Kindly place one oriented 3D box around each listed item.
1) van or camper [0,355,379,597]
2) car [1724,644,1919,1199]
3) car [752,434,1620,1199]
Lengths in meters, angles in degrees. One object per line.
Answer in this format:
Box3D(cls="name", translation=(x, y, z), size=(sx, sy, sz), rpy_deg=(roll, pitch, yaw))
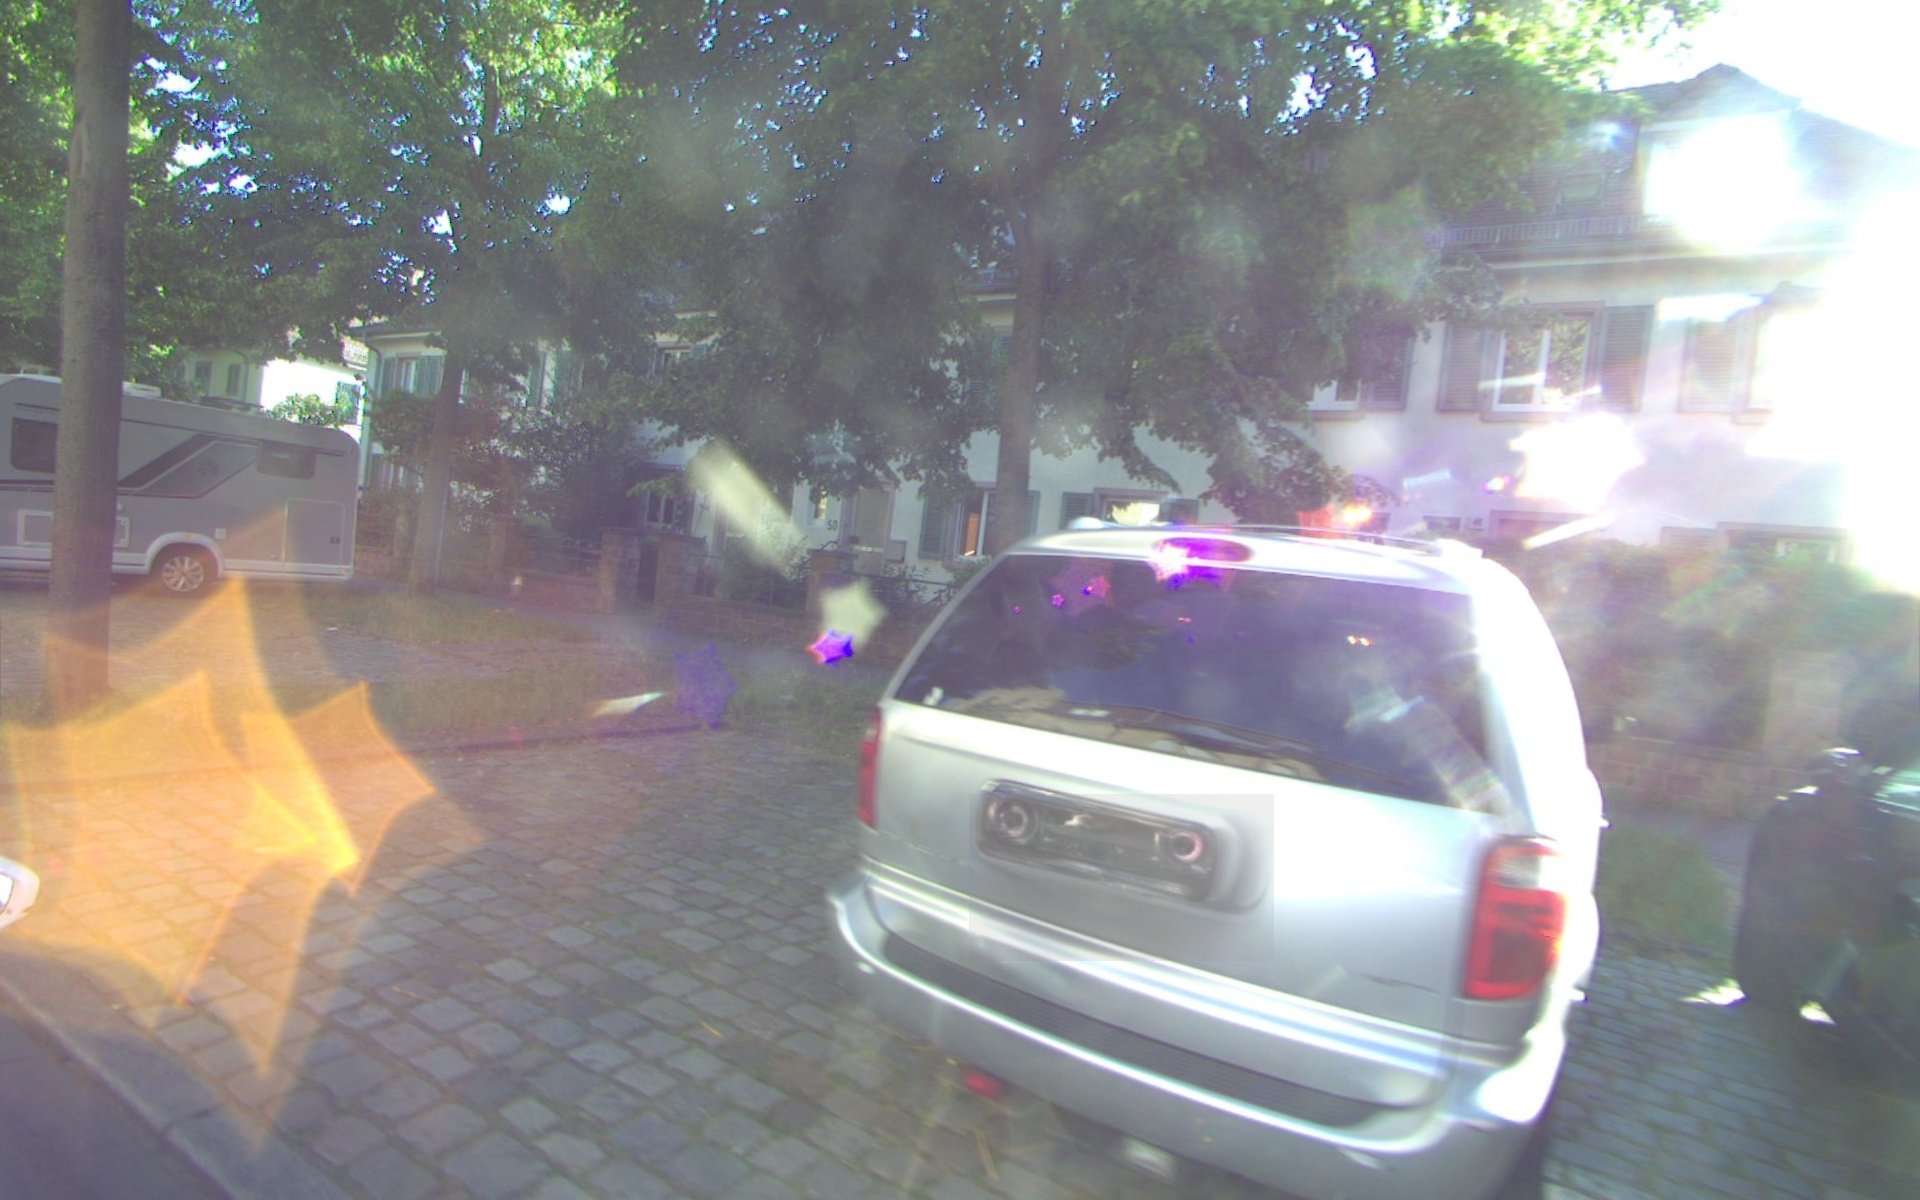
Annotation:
Box3D(cls="van or camper", translation=(-11.895, -1.616, 13.030), size=(2.424, 2.682, 7.145), rpy_deg=(7, 2, 33))
Box3D(cls="car", translation=(3.628, 1.033, 2.974), size=(1.666, 1.497, 4.066), rpy_deg=(8, 4, 32))
Box3D(cls="car", translation=(1.513, 0.599, 4.150), size=(1.803, 1.732, 4.619), rpy_deg=(7, 2, 33))
